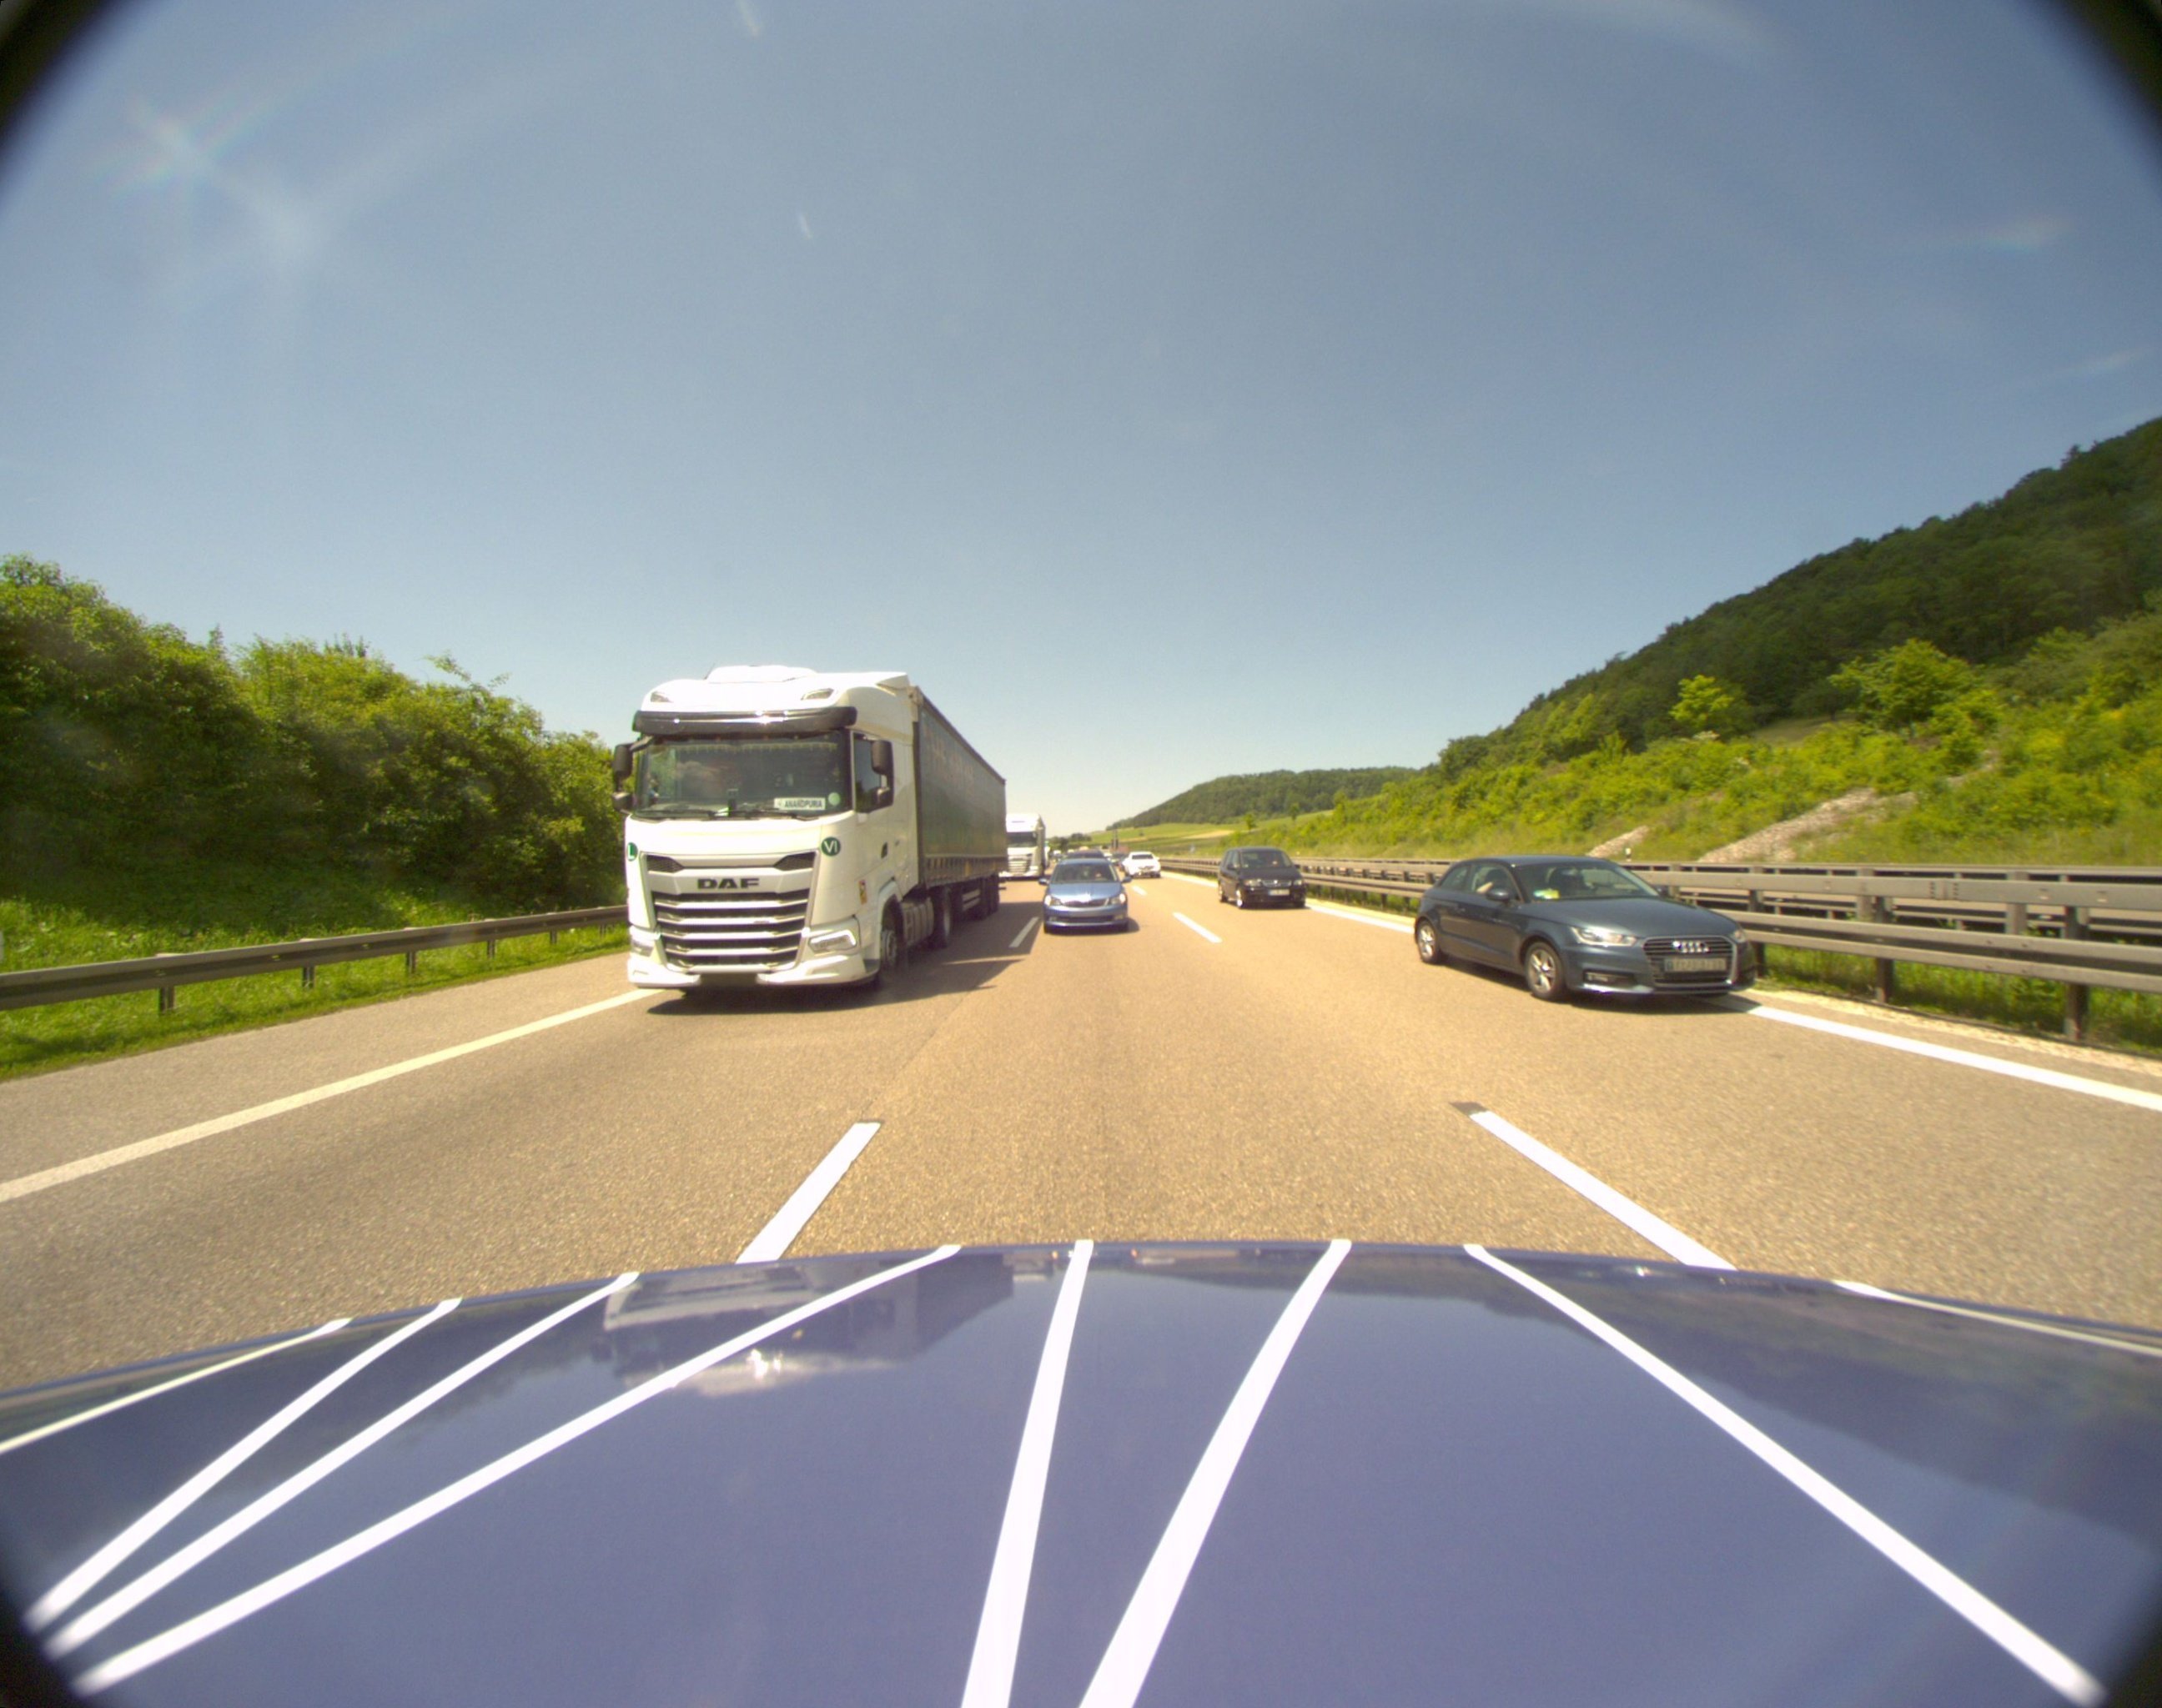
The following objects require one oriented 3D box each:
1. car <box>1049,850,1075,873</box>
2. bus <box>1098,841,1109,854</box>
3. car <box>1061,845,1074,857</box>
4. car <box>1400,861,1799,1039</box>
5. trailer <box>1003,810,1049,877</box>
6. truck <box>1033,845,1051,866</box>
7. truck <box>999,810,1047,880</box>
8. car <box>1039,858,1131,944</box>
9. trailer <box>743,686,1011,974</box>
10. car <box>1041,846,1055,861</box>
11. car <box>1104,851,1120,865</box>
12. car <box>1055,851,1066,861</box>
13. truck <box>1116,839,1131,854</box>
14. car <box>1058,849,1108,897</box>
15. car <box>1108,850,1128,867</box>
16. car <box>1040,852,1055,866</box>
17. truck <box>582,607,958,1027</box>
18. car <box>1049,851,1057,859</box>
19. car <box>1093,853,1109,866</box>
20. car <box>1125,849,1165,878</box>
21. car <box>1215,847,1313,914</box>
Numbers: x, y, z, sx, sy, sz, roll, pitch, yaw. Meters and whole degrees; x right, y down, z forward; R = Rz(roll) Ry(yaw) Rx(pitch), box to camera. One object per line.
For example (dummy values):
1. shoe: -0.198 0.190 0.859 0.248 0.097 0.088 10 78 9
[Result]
1. car: -1.518 0.561 62.479 1.998 1.702 3.999 -2 1 0
2. bus: 6.525 -1.765 220.594 2.686 3.640 14.815 -1 0 0
3. car: -2.355 -0.520 133.282 1.998 2.002 3.999 -2 1 0
4. car: 5.138 0.820 8.303 1.692 1.380 4.000 -1 0 1
5. trailer: -3.719 -0.745 54.244 2.544 4.085 13.624 -2 1 -1
6. truck: -4.502 0.093 87.846 1.836 2.267 6.593 -2 1 -1
7. truck: -3.592 -0.565 48.286 2.531 4.065 6.078 -2 1 -2
8. car: 0.085 0.872 16.245 1.660 1.481 4.653 -1 0 0
9. trailer: -3.461 -0.370 17.406 2.484 3.954 13.653 -1 0 0
10. car: -4.870 -0.082 113.182 1.778 2.177 3.999 -2 1 0
11. car: 3.997 0.474 97.764 1.998 1.702 4.000 -2 1 3
12. car: -4.301 0.429 159.792 1.998 2.002 3.999 -2 1 0
13. truck: 11.962 -2.135 213.544 3.627 4.079 9.921 -1 0 0
14. car: 0.137 0.672 29.381 1.736 1.674 4.198 -1 0 2
15. car: 3.986 0.452 81.707 1.998 1.702 4.000 -2 1 3
16. car: -4.320 0.595 98.659 1.778 1.655 3.999 -2 1 0
17. truck: -3.469 -0.364 10.429 2.484 3.954 6.380 -1 0 -1
18. car: -7.480 0.295 203.641 1.998 2.002 3.999 -2 1 0
19. car: 2.861 0.723 108.233 1.998 1.702 4.000 -2 1 3
20. car: 3.826 0.560 46.163 1.999 1.612 3.999 -2 1 -1
21. car: 4.914 0.646 21.027 1.805 1.625 4.446 -1 0 3
